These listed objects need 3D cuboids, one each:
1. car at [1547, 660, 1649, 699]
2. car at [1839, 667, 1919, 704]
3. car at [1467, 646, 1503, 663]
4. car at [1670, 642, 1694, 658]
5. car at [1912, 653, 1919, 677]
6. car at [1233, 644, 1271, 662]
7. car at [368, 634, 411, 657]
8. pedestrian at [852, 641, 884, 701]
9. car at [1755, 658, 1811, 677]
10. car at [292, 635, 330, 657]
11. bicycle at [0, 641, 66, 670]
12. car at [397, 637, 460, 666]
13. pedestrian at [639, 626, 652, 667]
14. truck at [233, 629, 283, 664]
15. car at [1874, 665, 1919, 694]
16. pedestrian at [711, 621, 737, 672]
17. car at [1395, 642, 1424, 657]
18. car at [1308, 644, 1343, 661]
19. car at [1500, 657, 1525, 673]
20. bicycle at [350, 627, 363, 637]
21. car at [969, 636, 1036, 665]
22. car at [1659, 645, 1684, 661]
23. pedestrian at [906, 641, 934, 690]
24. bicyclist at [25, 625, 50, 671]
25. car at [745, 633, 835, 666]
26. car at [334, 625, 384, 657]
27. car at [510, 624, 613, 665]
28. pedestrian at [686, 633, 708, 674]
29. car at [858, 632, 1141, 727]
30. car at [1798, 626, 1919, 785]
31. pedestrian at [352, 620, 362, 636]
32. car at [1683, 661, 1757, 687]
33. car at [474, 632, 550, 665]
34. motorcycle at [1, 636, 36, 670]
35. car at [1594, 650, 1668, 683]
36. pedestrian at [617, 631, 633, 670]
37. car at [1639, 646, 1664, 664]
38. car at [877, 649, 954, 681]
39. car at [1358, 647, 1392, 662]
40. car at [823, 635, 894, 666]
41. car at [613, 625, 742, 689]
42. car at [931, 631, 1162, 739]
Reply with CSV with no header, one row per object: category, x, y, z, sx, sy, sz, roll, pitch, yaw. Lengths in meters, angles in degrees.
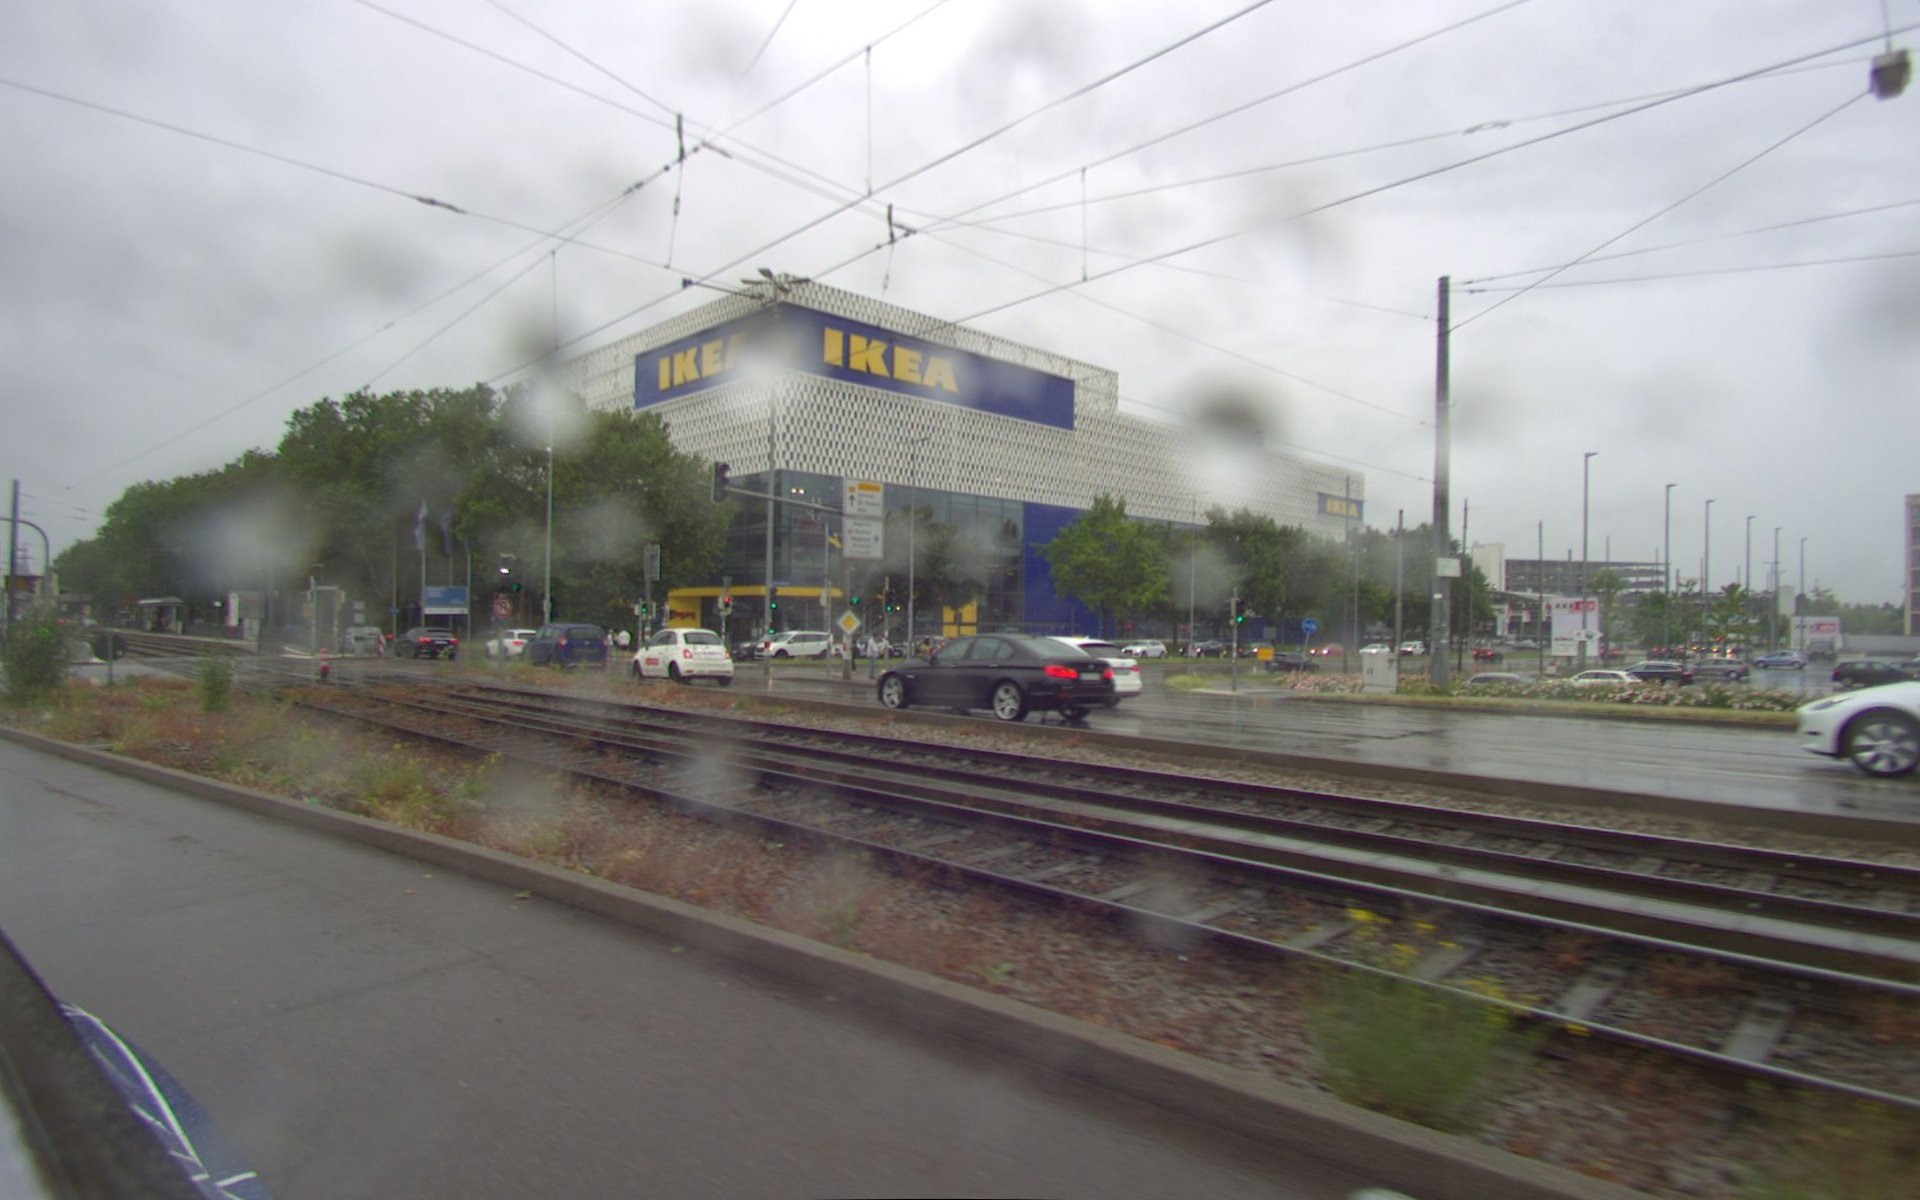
car,31.627,3.899,50.208,4.000,1.616,1.780,-1,0,43
car,55.044,5.072,60.412,3.831,1.919,1.799,-1,0,41
car,54.091,5.604,104.251,4.157,1.417,2.039,-1,0,-42
car,102.331,7.019,143.385,3.940,2.029,2.002,-1,0,-43
car,69.151,4.614,70.532,1.738,1.573,4.010,-1,0,-44
car,26.163,4.711,90.652,3.767,1.417,1.604,-1,0,-42
car,-37.779,3.028,67.011,1.563,1.425,3.918,-1,-1,-43
pedestrian,-3.195,2.460,35.250,0.857,2.029,0.687,-1,0,38
car,72.461,5.909,89.134,1.759,1.417,3.572,-1,0,-41
car,-42.687,3.018,66.510,1.562,1.377,4.208,-1,-1,-40
bicycle,-35.885,2.152,39.190,0.670,1.016,1.845,-3,-1,43
car,-25.313,2.422,48.118,1.691,1.259,4.052,-1,-1,-42
pedestrian,-16.924,2.501,54.522,0.562,2.151,0.634,-2,-1,-13
truck,-68.933,4.483,99.234,2.708,2.870,9.103,-1,2,-43
car,57.337,4.804,61.068,3.168,1.535,1.551,-1,0,42
pedestrian,-11.082,2.174,47.508,0.906,2.261,0.992,-2,2,-31
car,50.415,5.519,113.518,3.767,1.417,1.604,-1,0,-42
car,36.310,5.180,100.463,3.925,1.417,1.604,-1,0,-42
car,79.958,9.449,146.431,3.940,2.029,2.002,-1,0,-43
bicycle,-50.781,2.679,85.191,1.175,0.863,0.566,-1,0,41
car,2.701,3.186,64.105,4.048,1.615,2.002,-1,0,-44
car,97.951,7.270,139.274,3.940,2.029,2.002,-1,0,-43
pedestrian,-1.534,2.497,38.764,0.768,1.832,0.706,-1,0,38
bicyclist,-35.771,1.851,39.231,0.793,1.745,0.610,-3,-1,43
car,-8.919,2.587,53.414,4.396,1.552,1.821,0,-2,-43
car,-34.674,2.389,58.328,1.691,1.721,4.435,-1,-1,-41
car,-13.550,1.501,34.293,1.692,1.259,4.465,-1,-1,-44
pedestrian,-13.282,2.675,51.051,0.772,2.029,0.860,-1,0,-38
car,0.541,1.363,17.817,1.900,1.434,5.088,6,-6,-43
car,11.986,1.114,10.542,4.844,1.618,1.886,-2,0,45
pedestrian,-50.753,2.339,85.156,0.686,1.345,0.572,-1,0,41
car,52.707,5.118,70.215,4.041,1.536,1.693,-1,0,41
car,-21.163,2.283,47.702,1.790,1.447,4.717,-1,-1,-43
motorcycle,-35.259,1.972,37.911,0.519,1.230,1.406,-2,-1,-24
car,45.737,4.492,69.019,3.999,2.029,1.972,-1,0,42
pedestrian,-17.769,2.678,53.738,0.683,2.029,0.629,-2,-1,-13
car,92.524,7.343,135.420,3.940,2.029,2.002,-1,0,-43
car,-2.553,3.759,59.109,4.315,1.552,1.821,-1,-1,-43
car,44.532,5.849,108.580,4.103,1.417,1.711,-1,0,-42
car,-6.044,2.994,60.618,3.957,1.630,1.762,-1,0,-43
car,-7.720,1.513,27.421,1.692,1.547,4.052,-1,-1,-43
car,1.730,1.687,21.652,1.970,1.916,4.794,-1,0,-44
